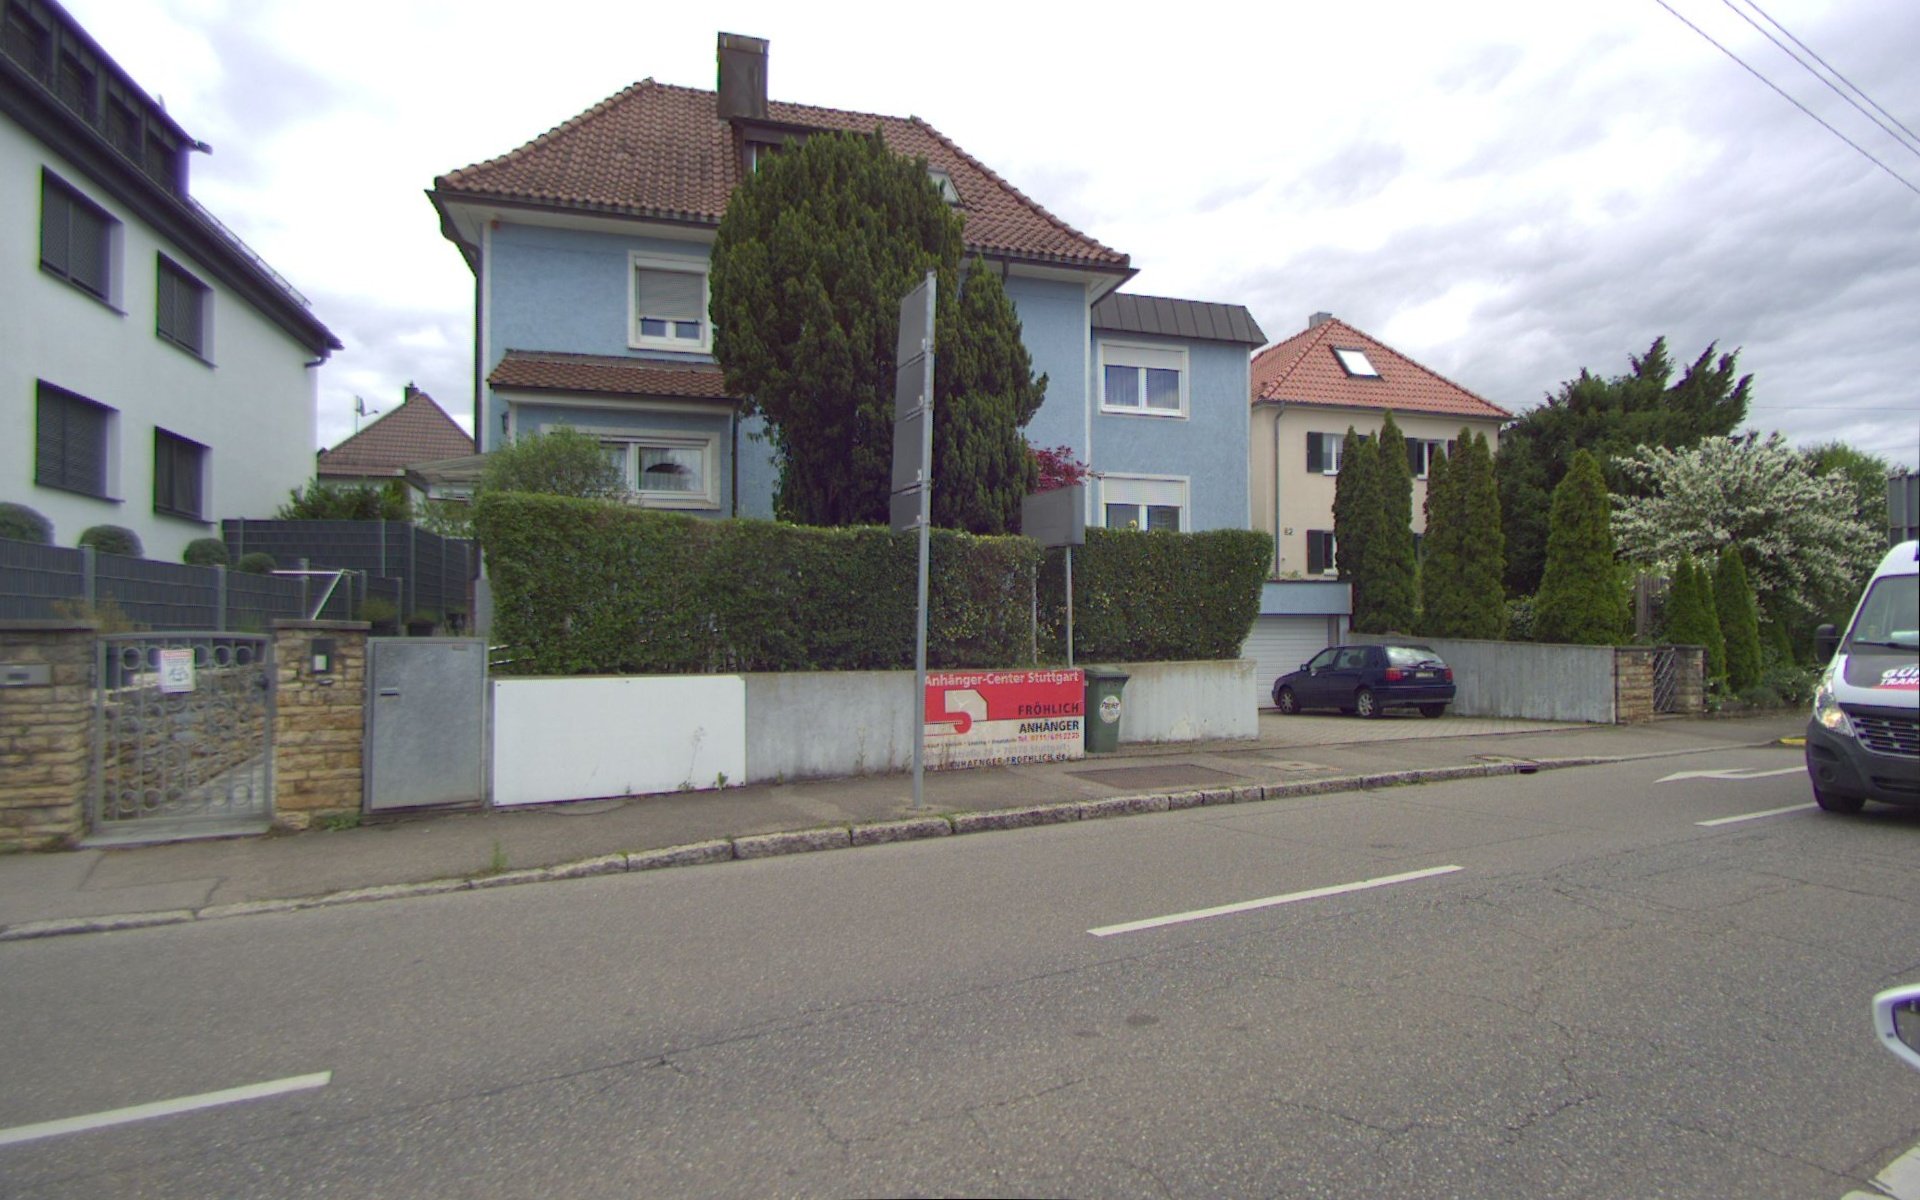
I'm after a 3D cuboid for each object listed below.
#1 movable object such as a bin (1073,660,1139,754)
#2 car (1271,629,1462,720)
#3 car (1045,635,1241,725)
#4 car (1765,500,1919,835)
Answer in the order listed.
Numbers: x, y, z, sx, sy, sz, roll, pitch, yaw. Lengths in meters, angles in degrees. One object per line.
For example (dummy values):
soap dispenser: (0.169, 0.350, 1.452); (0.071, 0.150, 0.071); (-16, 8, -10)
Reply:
movable object such as a bin: (1.617, 1.167, 11.126); (0.533, 0.986, 0.505); (1, -2, -27)
car: (7.882, 1.442, 19.840); (1.615, 1.612, 3.590); (1, -3, -16)
car: (3.218, 1.380, 18.523); (1.968, 1.409, 3.985); (1, -1, -17)
car: (9.908, 0.566, 9.064); (6.052, 2.531, 2.102); (1, -2, -30)
